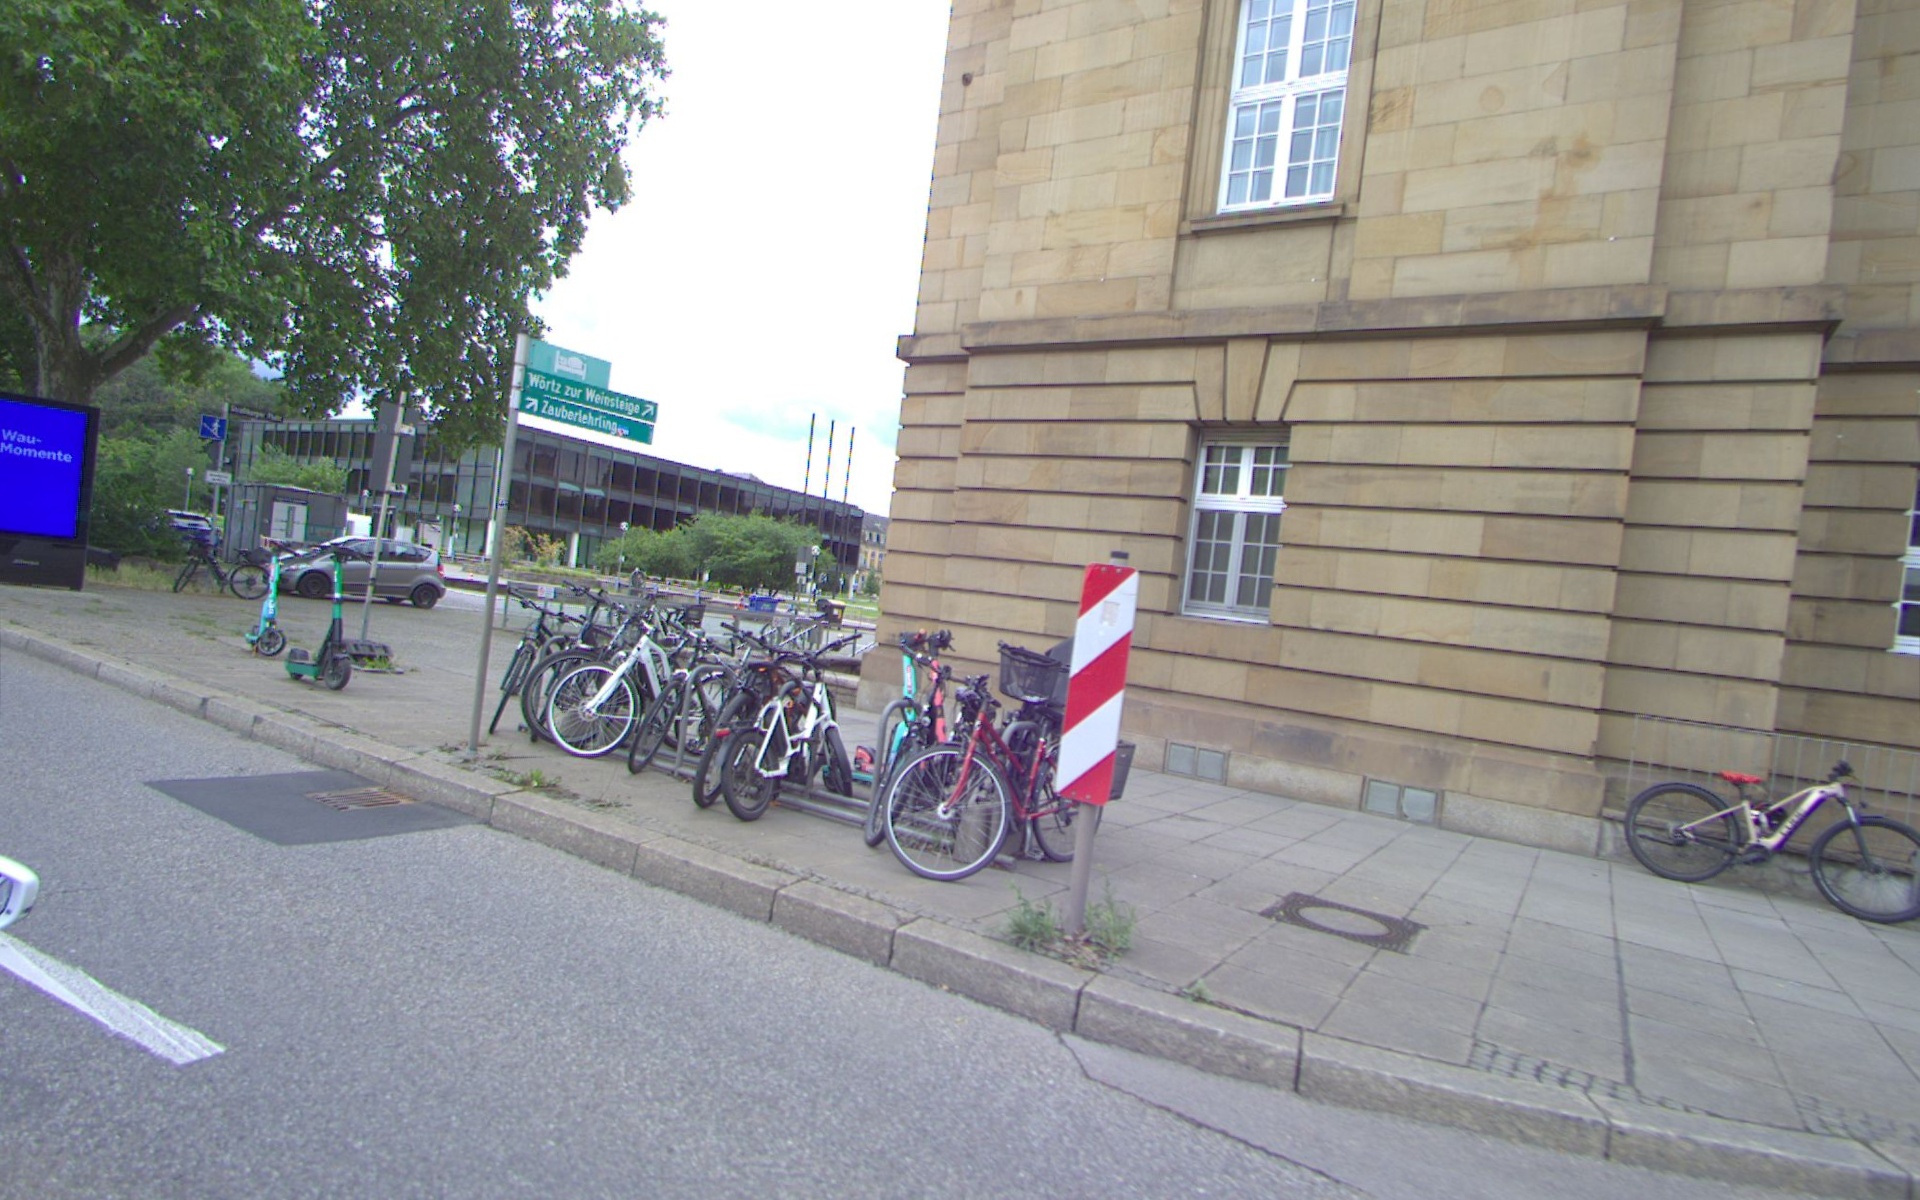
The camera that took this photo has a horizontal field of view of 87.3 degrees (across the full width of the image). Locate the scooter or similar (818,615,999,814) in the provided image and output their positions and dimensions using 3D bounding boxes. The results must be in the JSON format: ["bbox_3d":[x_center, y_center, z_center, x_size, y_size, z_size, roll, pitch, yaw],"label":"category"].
[{"bbox_3d":[-0.401,0.841,7.619,1.131,1.293,0.562,7,-1,39],"label":"scooter or similar"}]

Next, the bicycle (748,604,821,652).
[{"bbox_3d":[-4.830,0.795,27.894,0.420,1.113,2.166,7,-2,38],"label":"bicycle"}]

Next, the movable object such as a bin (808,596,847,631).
[{"bbox_3d":[-6.531,0.675,49.566,1.135,1.515,1.409,7,0,35],"label":"movable object such as a bin"}]

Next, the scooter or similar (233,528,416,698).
[{"bbox_3d":[-5.747,0.110,9.092,1.390,1.347,0.727,6,-1,32],"label":"scooter or similar"}]

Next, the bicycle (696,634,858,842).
[{"bbox_3d":[-1.141,0.835,6.617,0.461,1.143,1.616,7,-2,7],"label":"bicycle"}]

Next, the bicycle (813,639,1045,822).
[{"bbox_3d":[-0.154,0.864,6.608,0.430,1.039,1.561,7,-2,43],"label":"bicycle"}]

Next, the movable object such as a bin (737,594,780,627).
[{"bbox_3d":[-9.176,0.481,45.760,1.135,1.319,1.409,7,0,35],"label":"movable object such as a bin"}]

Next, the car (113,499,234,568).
[{"bbox_3d":[-24.729,-2.106,31.583,3.961,1.571,1.762,9,1,34],"label":"car"}]

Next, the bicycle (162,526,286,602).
[{"bbox_3d":[-14.257,-0.672,19.543,0.484,1.235,1.786,7,-1,35],"label":"bicycle"}]

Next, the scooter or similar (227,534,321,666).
[{"bbox_3d":[-7.466,-0.019,10.926,1.415,1.295,0.430,6,-2,44],"label":"scooter or similar"}]

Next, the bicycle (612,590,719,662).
[{"bbox_3d":[-5.297,0.498,18.210,0.382,1.139,2.014,7,-1,32],"label":"bicycle"}]

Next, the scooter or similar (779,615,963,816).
[{"bbox_3d":[-0.670,0.795,7.261,1.295,1.238,0.425,6,-2,43],"label":"scooter or similar"}]

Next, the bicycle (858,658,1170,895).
[{"bbox_3d":[0.346,0.958,5.574,1.655,1.087,0.579,8,-1,-38],"label":"bicycle"}]

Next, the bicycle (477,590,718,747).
[{"bbox_3d":[-2.904,0.595,8.211,0.420,1.104,1.725,7,-2,45],"label":"bicycle"}]

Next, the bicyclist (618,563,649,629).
[{"bbox_3d":[-9.115,-0.103,28.098,0.466,1.769,0.437,7,1,25],"label":"bicyclist"}]

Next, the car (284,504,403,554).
[{"bbox_3d":[-40.307,-4.594,65.937,2.363,2.288,6.112,7,-1,35],"label":"car"}]

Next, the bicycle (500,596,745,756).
[{"bbox_3d":[-2.591,0.636,7.905,0.376,1.104,1.725,7,-2,45],"label":"bicycle"}]

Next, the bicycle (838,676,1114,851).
[{"bbox_3d":[0.145,1.044,6.520,1.720,0.928,0.607,8,-1,-39],"label":"bicycle"}]

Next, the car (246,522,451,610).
[{"bbox_3d":[-14.824,-0.776,24.572,1.652,1.587,3.841,7,-1,33],"label":"car"}]

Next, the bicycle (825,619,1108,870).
[{"bbox_3d":[0.079,0.850,5.913,1.536,1.271,0.537,9,-1,-39],"label":"bicycle"}]

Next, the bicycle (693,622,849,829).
[{"bbox_3d":[-1.179,0.760,6.596,0.400,1.143,1.616,7,-2,7],"label":"bicycle"}]

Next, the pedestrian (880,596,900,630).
[{"bbox_3d":[-4.494,0.850,64.812,0.799,2.036,0.625,9,-2,-37],"label":"pedestrian"}]

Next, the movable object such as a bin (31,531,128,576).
[{"bbox_3d":[-17.260,-0.902,19.727,0.719,0.659,1.298,5,-4,41],"label":"movable object such as a bin"}]

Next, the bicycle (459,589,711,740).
[{"bbox_3d":[-3.219,0.597,8.782,0.657,1.104,1.854,7,-2,45],"label":"bicycle"}]

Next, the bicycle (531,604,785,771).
[{"bbox_3d":[-2.256,0.700,7.713,0.566,1.104,1.727,7,-2,41],"label":"bicycle"}]

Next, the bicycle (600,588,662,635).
[{"bbox_3d":[-9.024,0.324,27.658,0.435,1.145,1.754,7,0,25],"label":"bicycle"}]

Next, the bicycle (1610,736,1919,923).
[{"bbox_3d":[6.105,1.685,7.582,1.930,1.010,0.240,6,0,32],"label":"bicycle"}]

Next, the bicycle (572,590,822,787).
[{"bbox_3d":[-1.857,0.653,7.395,0.594,1.223,1.762,7,-2,29],"label":"bicycle"}]
